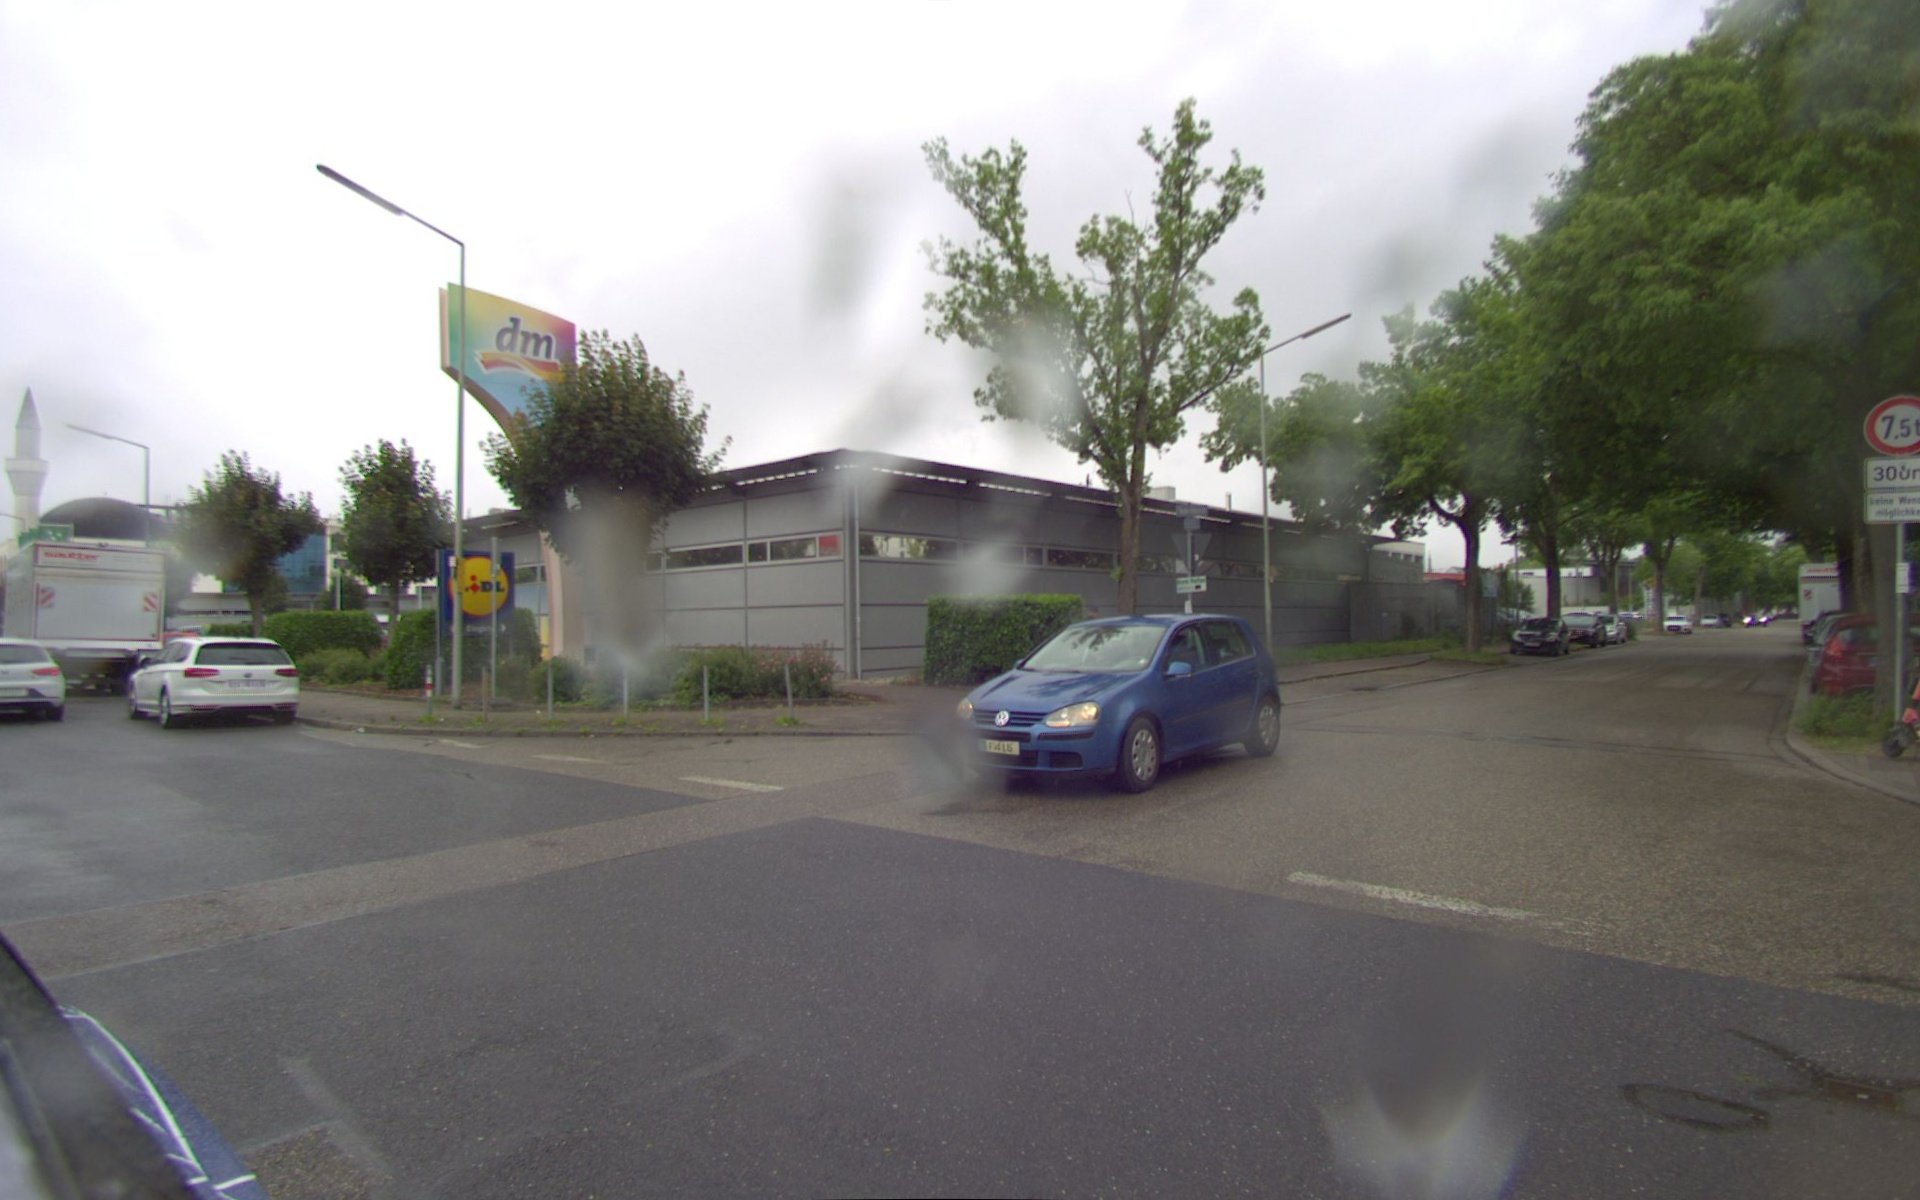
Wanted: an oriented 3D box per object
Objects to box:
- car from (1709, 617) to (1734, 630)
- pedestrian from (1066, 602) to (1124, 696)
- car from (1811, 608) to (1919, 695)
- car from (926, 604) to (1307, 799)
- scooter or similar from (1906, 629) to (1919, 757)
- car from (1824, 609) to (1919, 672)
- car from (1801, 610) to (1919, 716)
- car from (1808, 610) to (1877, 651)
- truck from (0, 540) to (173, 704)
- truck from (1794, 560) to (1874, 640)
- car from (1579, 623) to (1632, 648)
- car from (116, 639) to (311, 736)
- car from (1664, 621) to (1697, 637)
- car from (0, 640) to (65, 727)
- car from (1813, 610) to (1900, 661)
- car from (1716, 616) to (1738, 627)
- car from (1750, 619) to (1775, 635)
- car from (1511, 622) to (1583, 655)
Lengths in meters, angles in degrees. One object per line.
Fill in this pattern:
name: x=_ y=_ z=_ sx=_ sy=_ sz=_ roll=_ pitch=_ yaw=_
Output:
car: x=78.577 y=2.422 z=104.406 sx=1.570 sy=1.212 sz=3.943 roll=-2 pitch=-2 yaw=43
pedestrian: x=2.498 y=0.896 z=18.706 sx=0.758 sy=1.686 sz=0.772 roll=-2 pitch=-2 yaw=39
car: x=16.986 y=0.919 z=18.769 sx=1.735 sy=1.452 sz=3.945 roll=-3 pitch=-3 yaw=41
car: x=1.656 y=0.831 z=9.639 sx=1.735 sy=1.452 sz=3.945 roll=-3 pitch=-3 yaw=41
scooter or similar: x=9.252 y=0.847 z=9.085 sx=0.280 sy=1.184 sz=1.061 roll=1 pitch=-2 yaw=-41
car: x=22.729 y=0.998 z=25.224 sx=1.735 sy=1.452 sz=3.945 roll=-3 pitch=-3 yaw=41
car: x=13.507 y=0.872 z=14.794 sx=1.735 sy=1.374 sz=3.945 roll=-3 pitch=-3 yaw=41
car: x=31.602 y=1.111 z=36.267 sx=1.735 sy=1.393 sz=4.040 roll=-3 pitch=-3 yaw=41
truck: x=-23.629 y=0.625 z=27.044 sx=7.866 sy=3.775 sz=2.850 roll=-2 pitch=-2 yaw=43
truck: x=40.981 y=0.055 z=47.543 sx=2.601 sy=3.496 sz=6.722 roll=-2 pitch=-2 yaw=40
car: x=32.646 y=1.783 z=51.151 sx=1.570 sy=1.212 sz=3.943 roll=-2 pitch=-2 yaw=43
car: x=-12.882 y=1.402 z=17.366 sx=4.490 sy=1.445 sz=1.816 roll=-2 pitch=-3 yaw=42
car: x=55.370 y=2.223 z=77.748 sx=1.570 sy=1.212 sz=3.943 roll=-2 pitch=-2 yaw=43
car: x=-17.652 y=1.467 z=18.262 sx=3.997 sy=1.452 sz=1.713 roll=-3 pitch=-3 yaw=41
car: x=26.067 y=1.034 z=29.491 sx=1.735 sy=1.393 sz=4.040 roll=-3 pitch=-3 yaw=41
car: x=84.313 y=2.380 z=111.239 sx=1.570 sy=1.212 sz=3.943 roll=-2 pitch=-2 yaw=43
car: x=81.737 y=2.735 z=103.080 sx=1.923 sy=1.584 sz=3.948 roll=-2 pitch=-2 yaw=39
car: x=23.007 y=1.481 z=39.595 sx=1.570 sy=1.212 sz=3.943 roll=-2 pitch=-2 yaw=43
